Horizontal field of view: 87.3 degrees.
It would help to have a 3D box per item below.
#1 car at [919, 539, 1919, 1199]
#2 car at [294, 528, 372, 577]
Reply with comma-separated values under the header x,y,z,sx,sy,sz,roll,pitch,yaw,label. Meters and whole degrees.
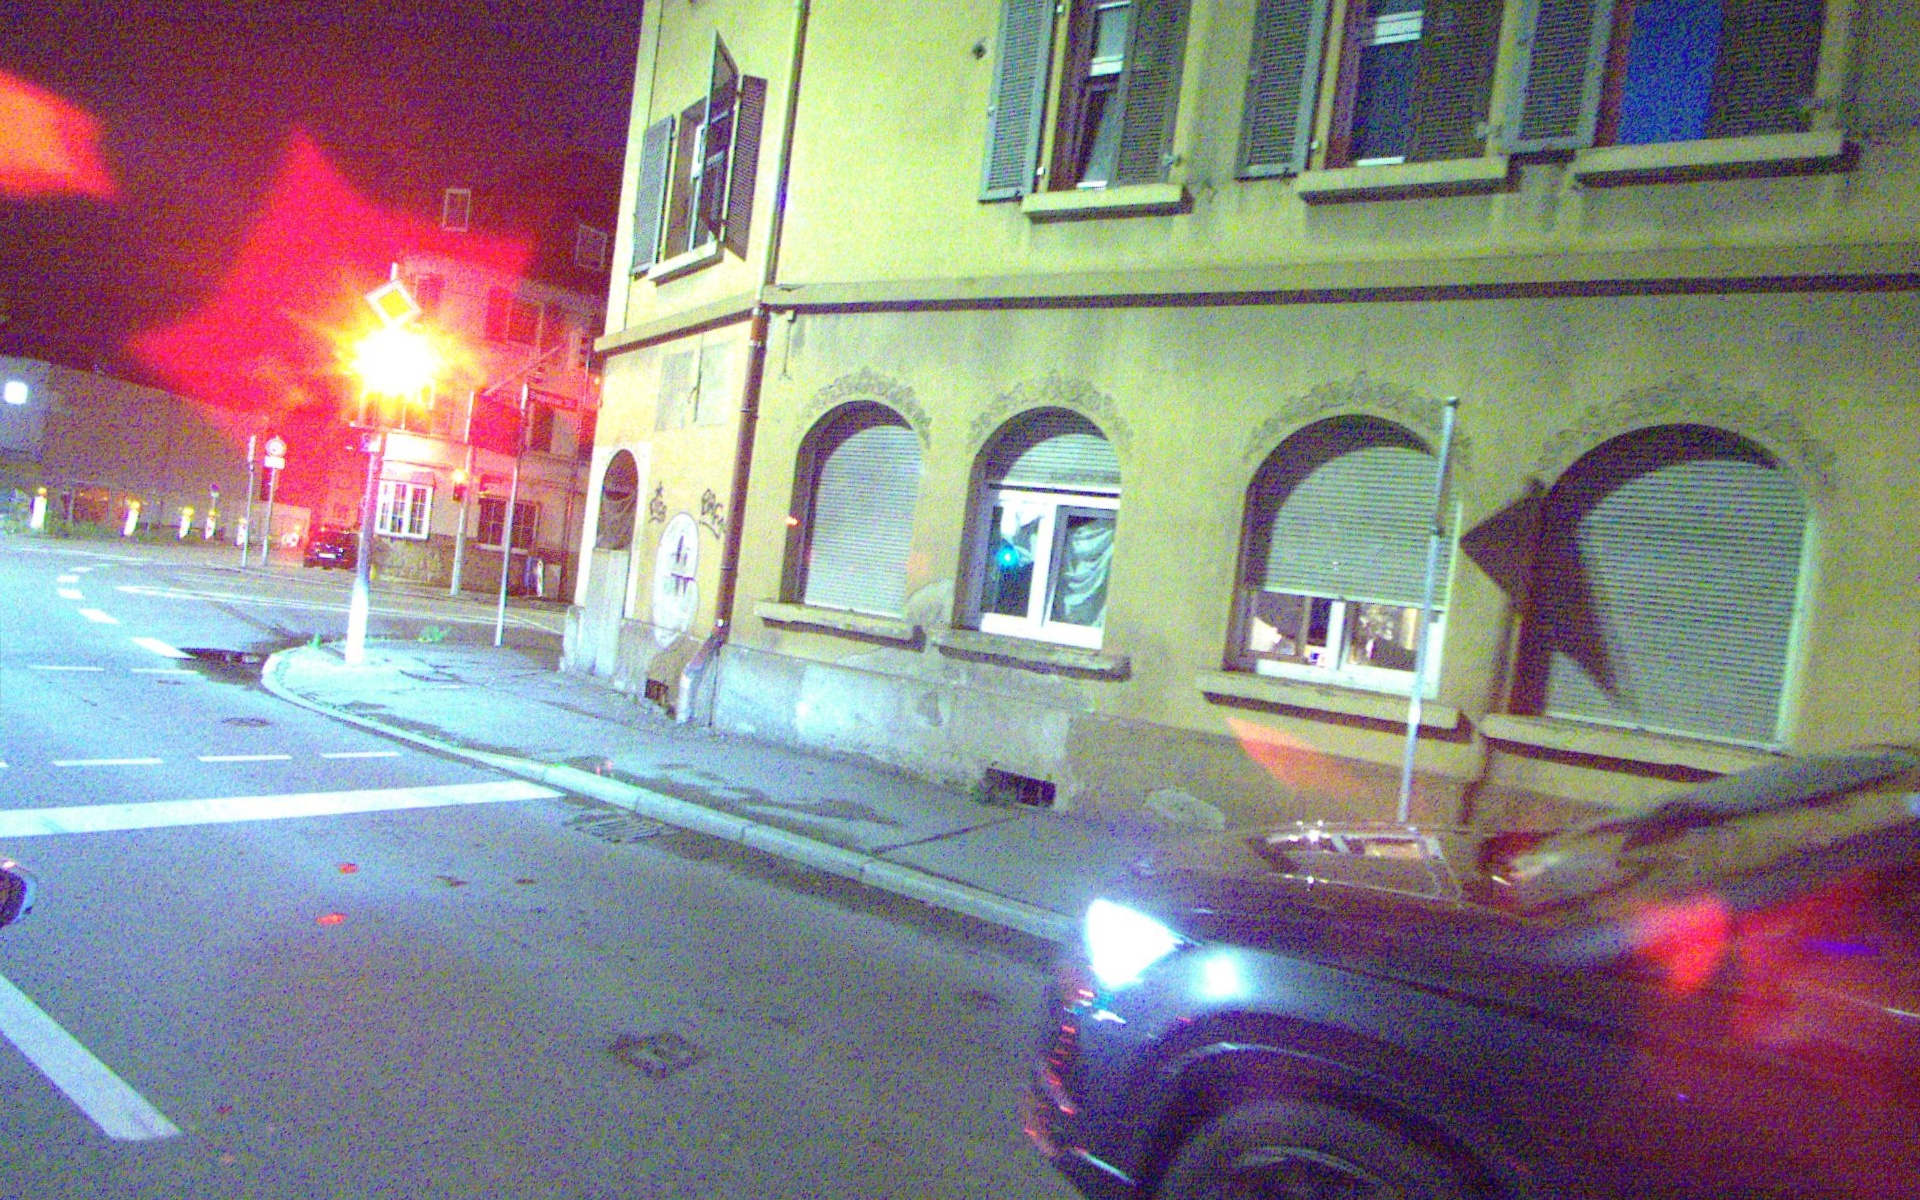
x,y,z,sx,sy,sz,roll,pitch,yaw,label
2.180,0.924,1.980,4.157,1.629,1.673,6,-1,30,car
-24.951,-1.860,40.183,1.708,1.631,3.610,7,-1,-19,car
